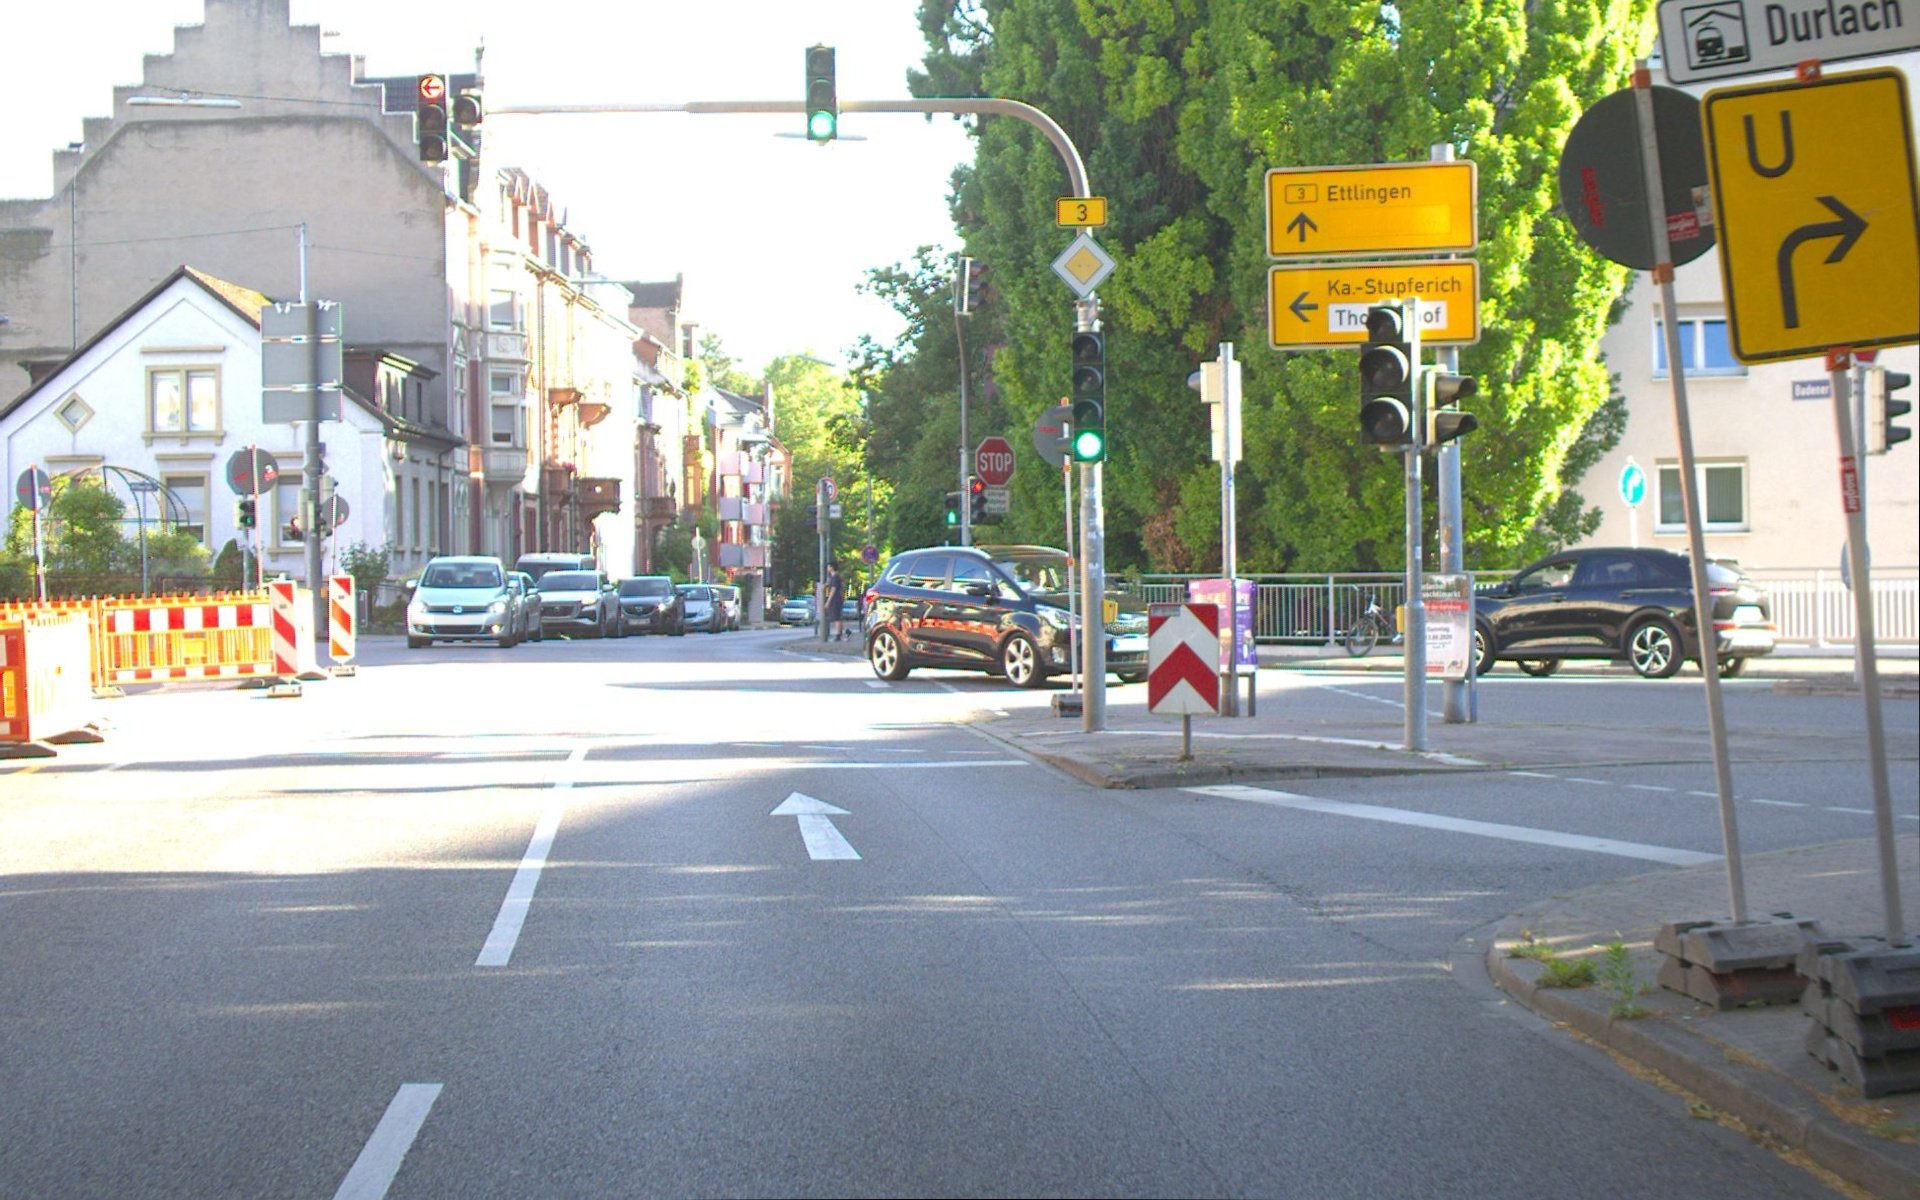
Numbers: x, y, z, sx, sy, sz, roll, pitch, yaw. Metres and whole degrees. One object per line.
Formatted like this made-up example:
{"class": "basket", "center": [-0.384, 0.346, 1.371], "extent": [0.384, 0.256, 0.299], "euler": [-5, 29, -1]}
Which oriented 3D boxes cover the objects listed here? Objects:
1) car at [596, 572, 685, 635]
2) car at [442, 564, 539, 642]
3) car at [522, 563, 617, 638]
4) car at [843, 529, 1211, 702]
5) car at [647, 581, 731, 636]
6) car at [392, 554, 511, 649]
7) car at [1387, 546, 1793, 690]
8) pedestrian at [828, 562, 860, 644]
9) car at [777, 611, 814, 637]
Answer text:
{"class": "car", "center": [-8.683, 0.077, 93.740], "extent": [1.953, 1.643, 4.283], "euler": [1, 1, 1]}
{"class": "car", "center": [-9.343, 0.038, 68.622], "extent": [1.775, 1.475, 4.097], "euler": [1, 1, -6]}
{"class": "car", "center": [-9.071, -0.012, 80.159], "extent": [1.775, 1.643, 4.535], "euler": [1, 1, -2]}
{"class": "car", "center": [0.732, 0.121, 40.036], "extent": [1.994, 1.809, 4.250], "euler": [-4, 3, -38]}
{"class": "car", "center": [-8.459, 0.246, 107.624], "extent": [1.954, 1.643, 4.283], "euler": [1, 1, 4]}
{"class": "car", "center": [-8.797, 0.003, 59.271], "extent": [1.775, 1.537, 4.001], "euler": [1, 1, -11]}
{"class": "car", "center": [7.936, 0.216, 43.539], "extent": [4.660, 1.664, 1.995], "euler": [1, -2, 42]}
{"class": "pedestrian", "center": [-2.392, 0.062, 70.974], "extent": [0.602, 1.687, 0.612], "euler": [-1, 0, 0]}
{"class": "car", "center": [-10.002, 1.477, 209.729], "extent": [1.993, 1.486, 4.470], "euler": [-1, 1, 1]}
